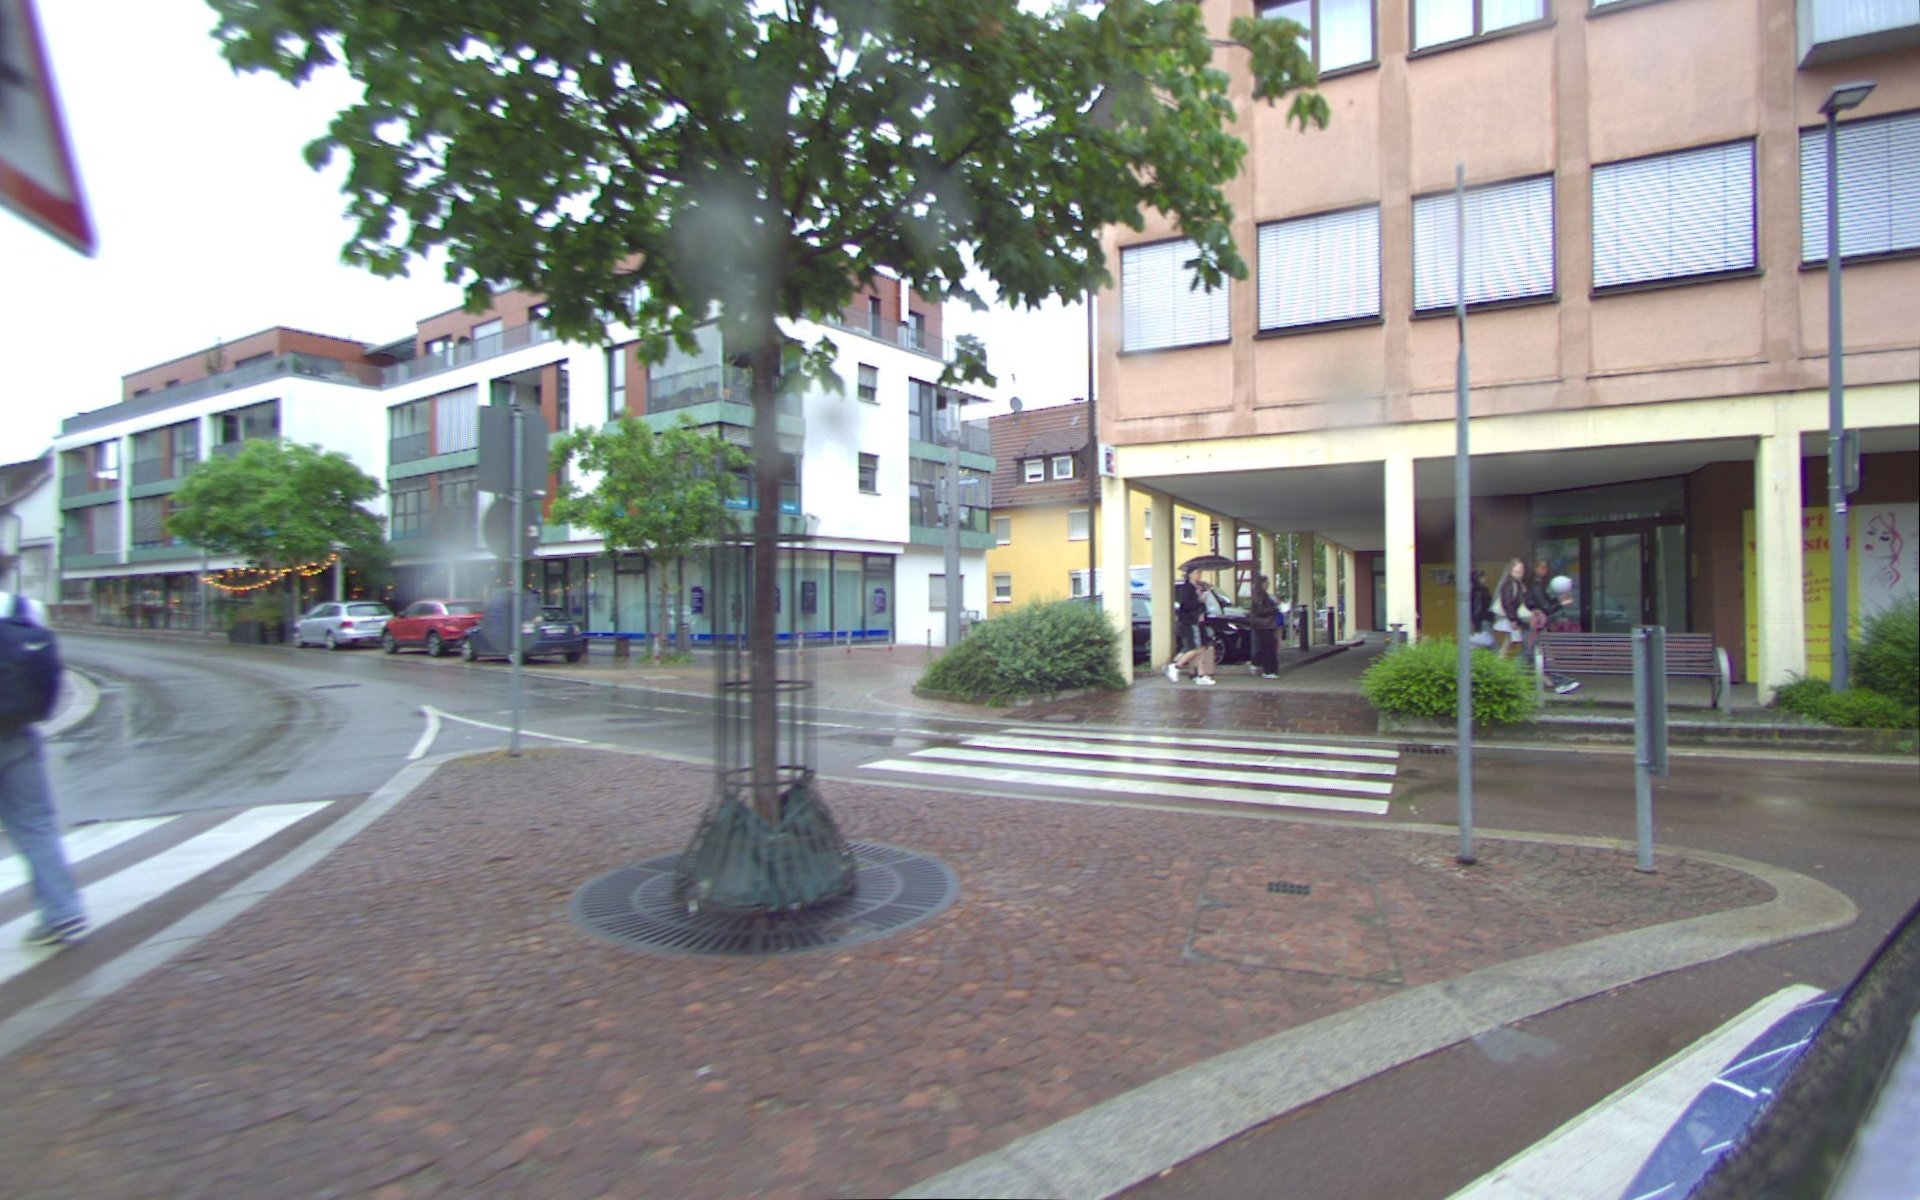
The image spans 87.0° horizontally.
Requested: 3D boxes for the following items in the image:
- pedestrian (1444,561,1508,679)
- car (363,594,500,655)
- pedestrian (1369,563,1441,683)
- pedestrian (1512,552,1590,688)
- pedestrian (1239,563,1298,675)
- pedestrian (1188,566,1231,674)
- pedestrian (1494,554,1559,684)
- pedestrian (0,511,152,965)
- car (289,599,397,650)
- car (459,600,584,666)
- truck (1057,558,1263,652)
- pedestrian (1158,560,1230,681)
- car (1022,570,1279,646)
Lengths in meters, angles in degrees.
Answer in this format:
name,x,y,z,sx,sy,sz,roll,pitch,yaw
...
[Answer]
name,x,y,z,sx,sy,sz,roll,pitch,yaw
pedestrian,7.487,0.278,14.681,0.703,1.639,0.787,-1,0,34
car,-14.836,0.658,28.363,3.970,1.519,1.611,0,3,33
pedestrian,6.313,0.310,14.340,0.819,1.624,0.736,0,2,32
pedestrian,7.596,0.247,13.021,0.814,1.682,0.691,-1,0,30
pedestrian,4.837,0.292,15.856,0.736,1.711,0.629,-1,0,29
pedestrian,3.962,0.309,16.081,0.516,1.684,0.536,-1,0,29
pedestrian,7.701,0.253,13.776,0.726,1.711,0.718,-1,0,29
pedestrian,-4.288,0.561,4.494,1.048,1.829,0.661,-1,0,22
car,-19.398,0.723,31.773,3.979,1.430,1.599,0,3,38
car,-10.948,0.769,25.204,3.358,1.378,1.520,2,3,40
truck,4.240,0.116,21.550,3.962,1.831,1.751,-1,0,28
pedestrian,3.565,0.305,15.383,0.884,1.771,0.729,-1,0,28
car,3.548,0.152,19.034,4.429,1.292,1.751,-1,0,28
